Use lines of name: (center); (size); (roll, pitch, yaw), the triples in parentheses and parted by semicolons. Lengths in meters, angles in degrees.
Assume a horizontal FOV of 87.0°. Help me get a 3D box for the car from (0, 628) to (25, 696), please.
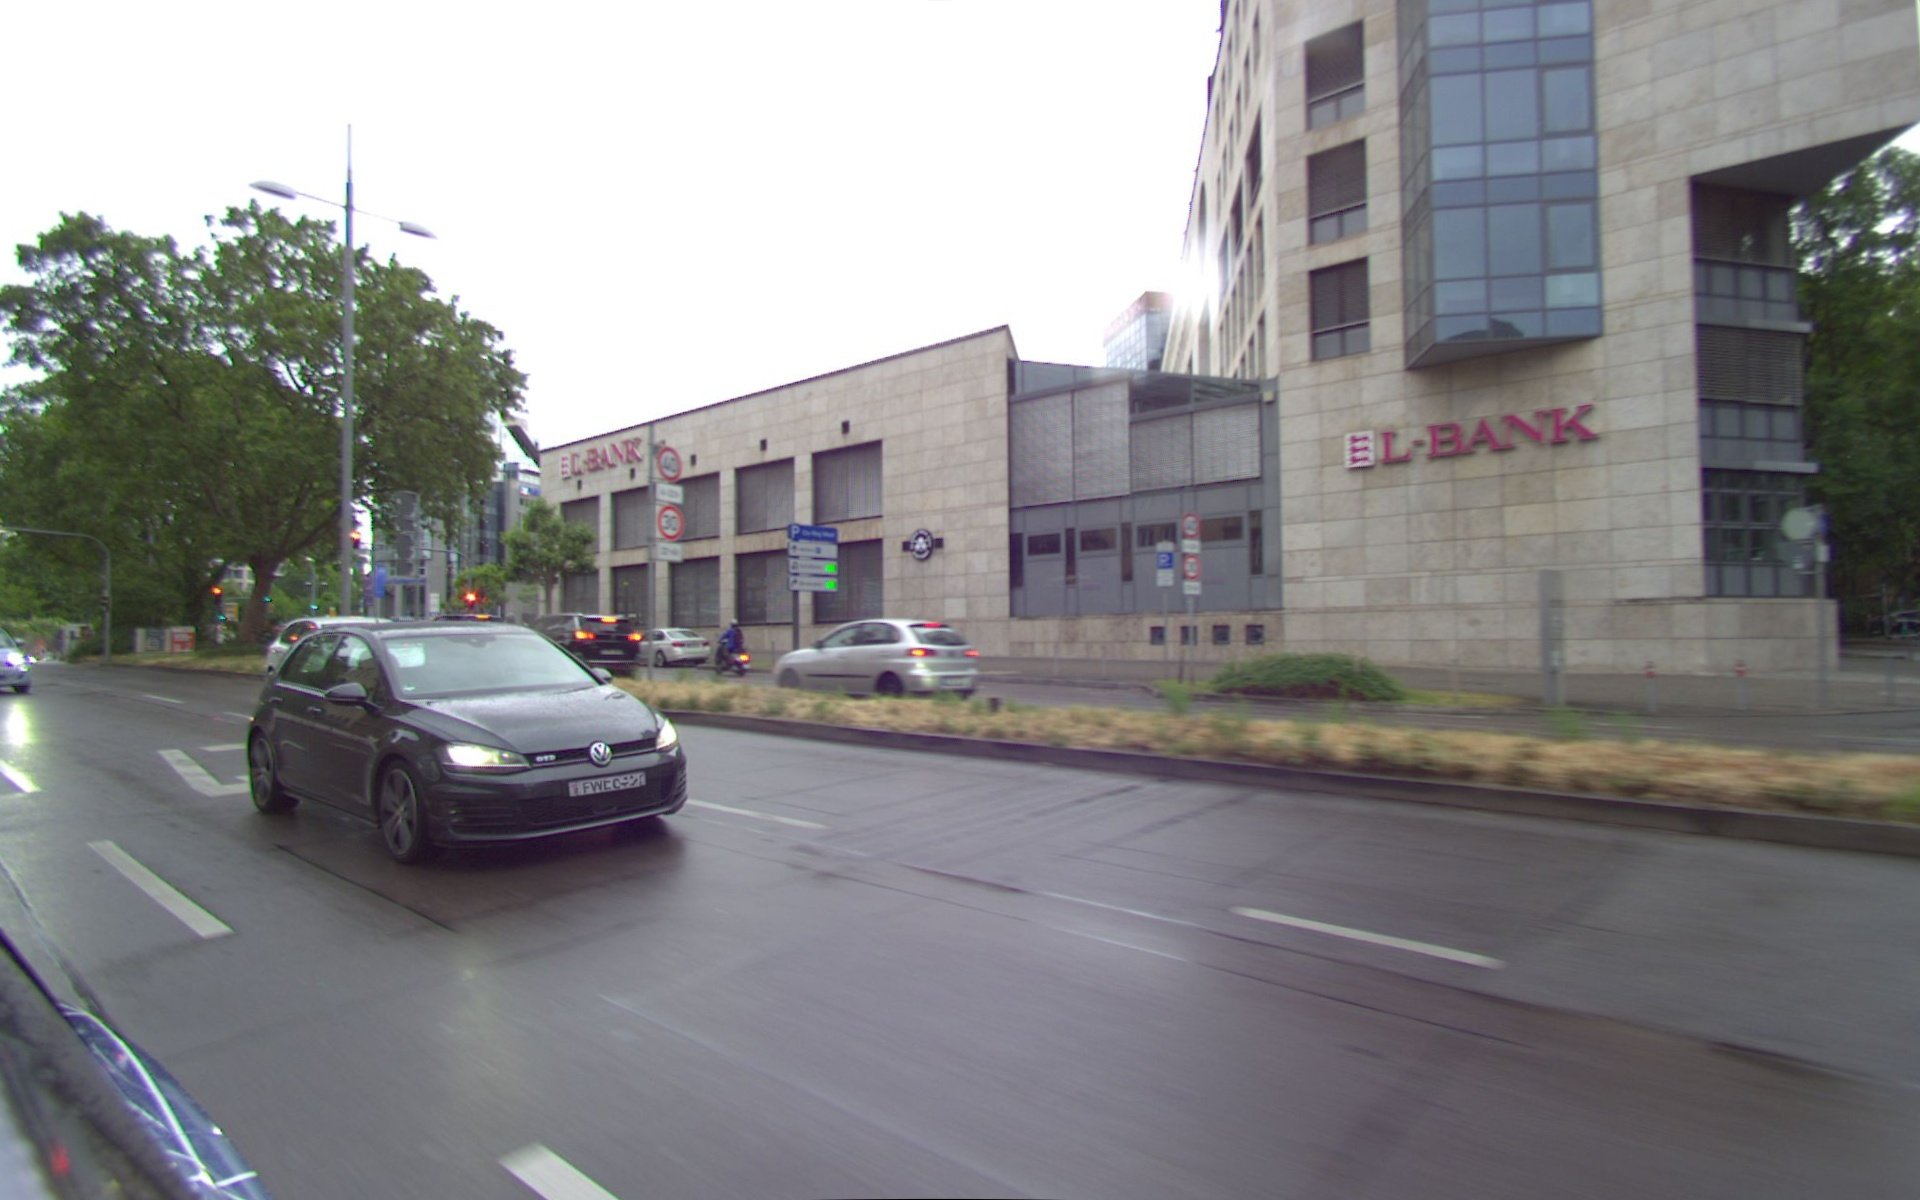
car: (-22.097, 1.368, 22.364); (3.490, 1.452, 1.592); (-2, -1, 39)

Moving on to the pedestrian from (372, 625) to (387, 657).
pedestrian: (-29.600, 2.085, 51.643); (0.551, 1.626, 0.422); (-2, -2, 23)

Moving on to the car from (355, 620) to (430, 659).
car: (-25.186, 1.725, 44.854); (4.093, 1.652, 1.810); (-1, -2, 44)

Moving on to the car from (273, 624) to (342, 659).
car: (-28.134, 1.757, 43.596); (1.727, 1.375, 4.134); (2, -2, -44)

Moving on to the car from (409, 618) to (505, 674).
car: (-19.323, 1.705, 38.781); (1.809, 2.017, 5.108); (2, -2, -44)

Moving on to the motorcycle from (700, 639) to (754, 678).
motorcycle: (-7.154, 1.786, 31.001); (2.032, 1.139, 0.543); (-3, -3, 42)

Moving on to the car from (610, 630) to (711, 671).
car: (-11.586, 1.913, 39.018); (1.727, 1.426, 4.708); (2, -2, -44)

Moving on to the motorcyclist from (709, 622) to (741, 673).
motorcyclist: (-7.215, 1.458, 31.069); (0.973, 1.541, 0.514); (-3, -3, 43)

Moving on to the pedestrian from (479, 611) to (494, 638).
pedestrian: (-34.290, 1.783, 73.301); (1.125, 1.939, 0.582); (-2, -1, 41)

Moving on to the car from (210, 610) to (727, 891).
car: (-3.682, 0.840, 7.278); (4.118, 1.463, 1.767); (-2, -2, 39)

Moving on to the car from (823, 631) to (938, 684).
car: (-2.400, 1.648, 29.975); (1.574, 1.426, 3.403); (2, -2, -44)

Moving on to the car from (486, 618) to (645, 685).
car: (-9.502, 1.168, 24.194); (4.581, 1.448, 1.682); (-1, -2, 42)

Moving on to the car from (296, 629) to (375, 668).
car: (-23.636, 1.803, 38.259); (1.727, 1.375, 3.946); (2, -2, -44)

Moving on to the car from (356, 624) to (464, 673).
car: (-17.847, 1.544, 32.752); (4.314, 1.453, 1.839); (-1, -3, 44)

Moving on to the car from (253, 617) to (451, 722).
car: (-10.559, 1.100, 17.474); (3.998, 1.608, 1.758); (-1, -1, 41)

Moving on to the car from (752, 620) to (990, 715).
car: (-1.564, 1.023, 16.713); (4.117, 1.370, 1.579); (-1, -2, 43)
